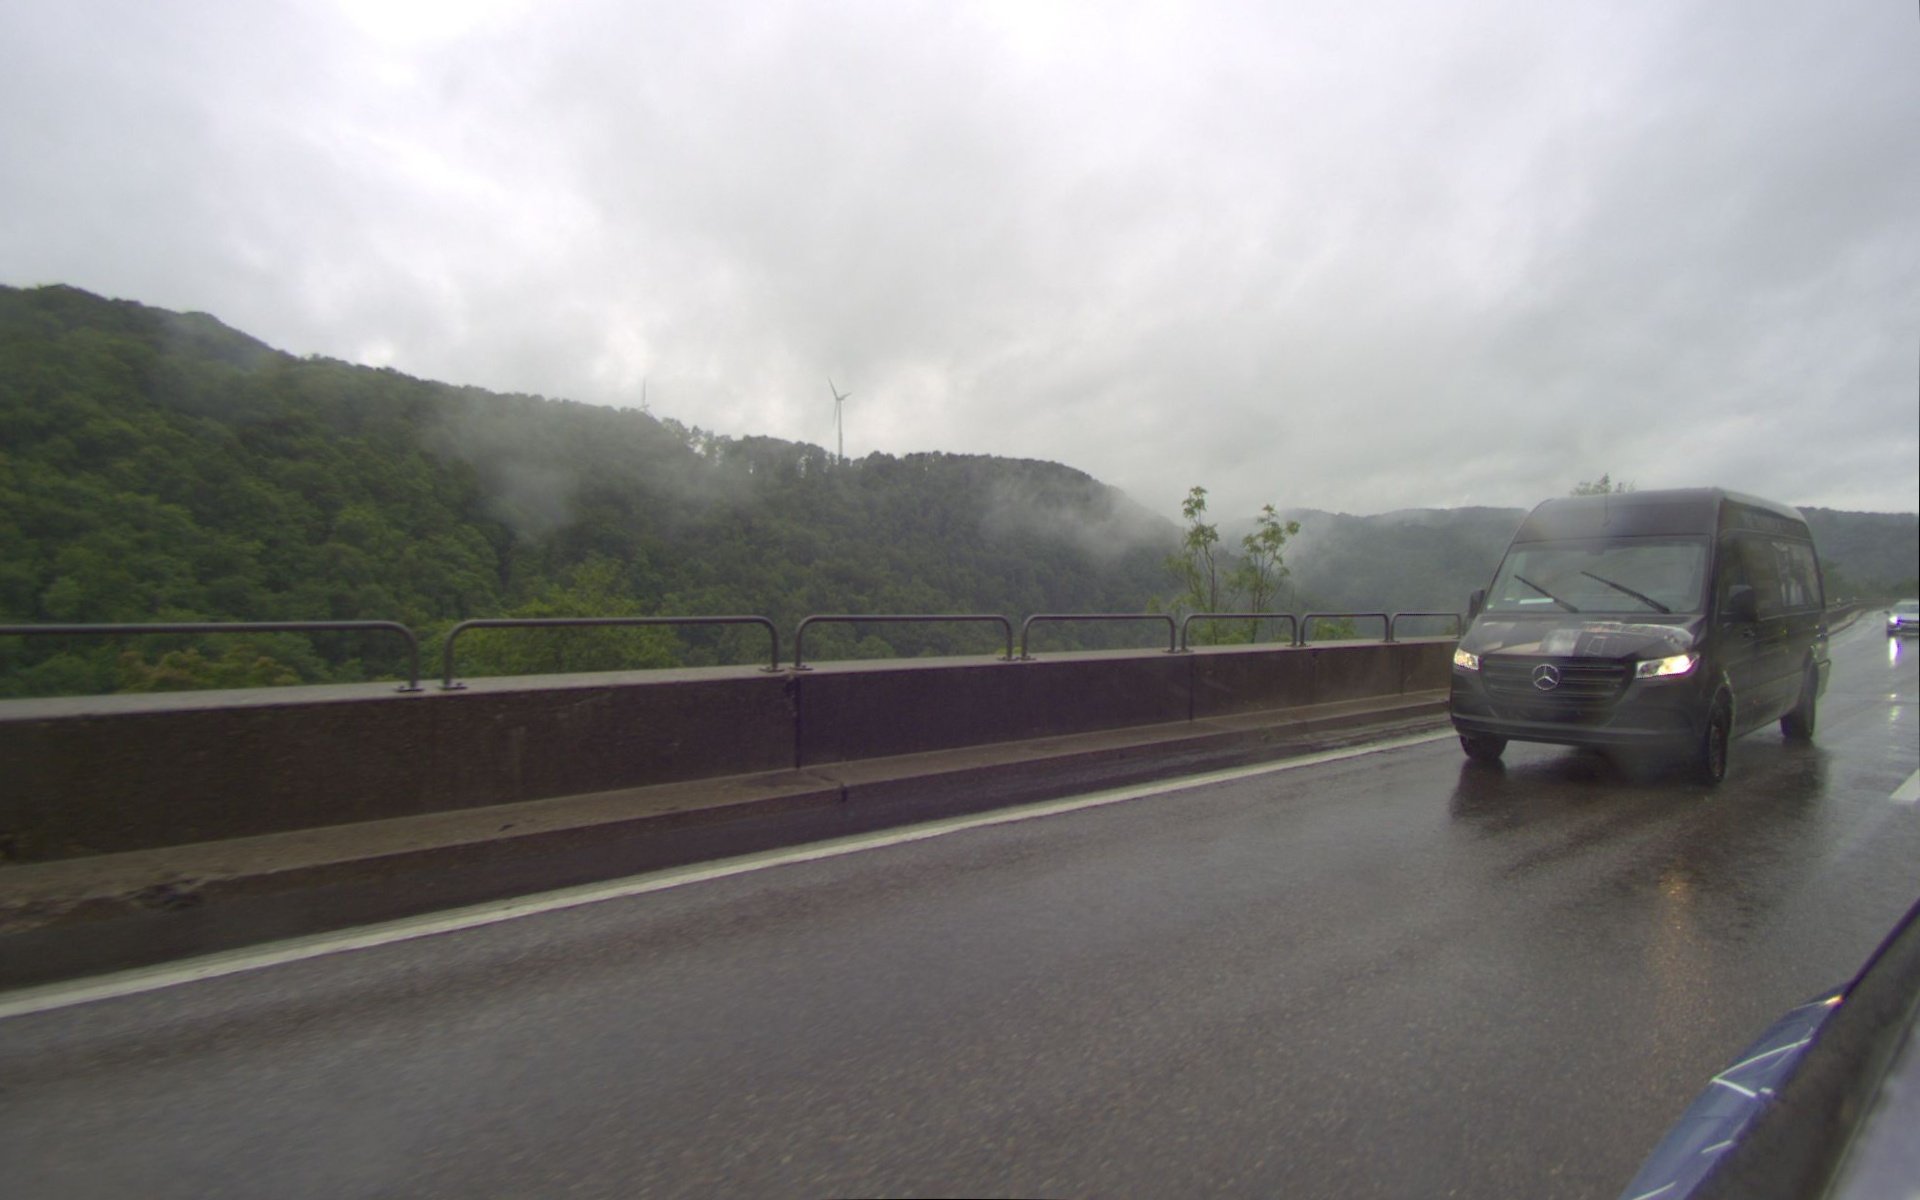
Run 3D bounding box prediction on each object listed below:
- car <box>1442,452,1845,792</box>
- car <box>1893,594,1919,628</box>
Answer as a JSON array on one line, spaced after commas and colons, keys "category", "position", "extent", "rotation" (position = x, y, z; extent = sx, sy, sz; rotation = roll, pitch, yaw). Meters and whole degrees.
[{"category": "car", "position": [7.390, 0.143, 10.501], "extent": [6.590, 2.526, 1.996], "rotation": [0, 0, -42]}, {"category": "car", "position": [42.859, 0.474, 44.848], "extent": [4.489, 1.433, 1.987], "rotation": [0, 1, -44]}]
